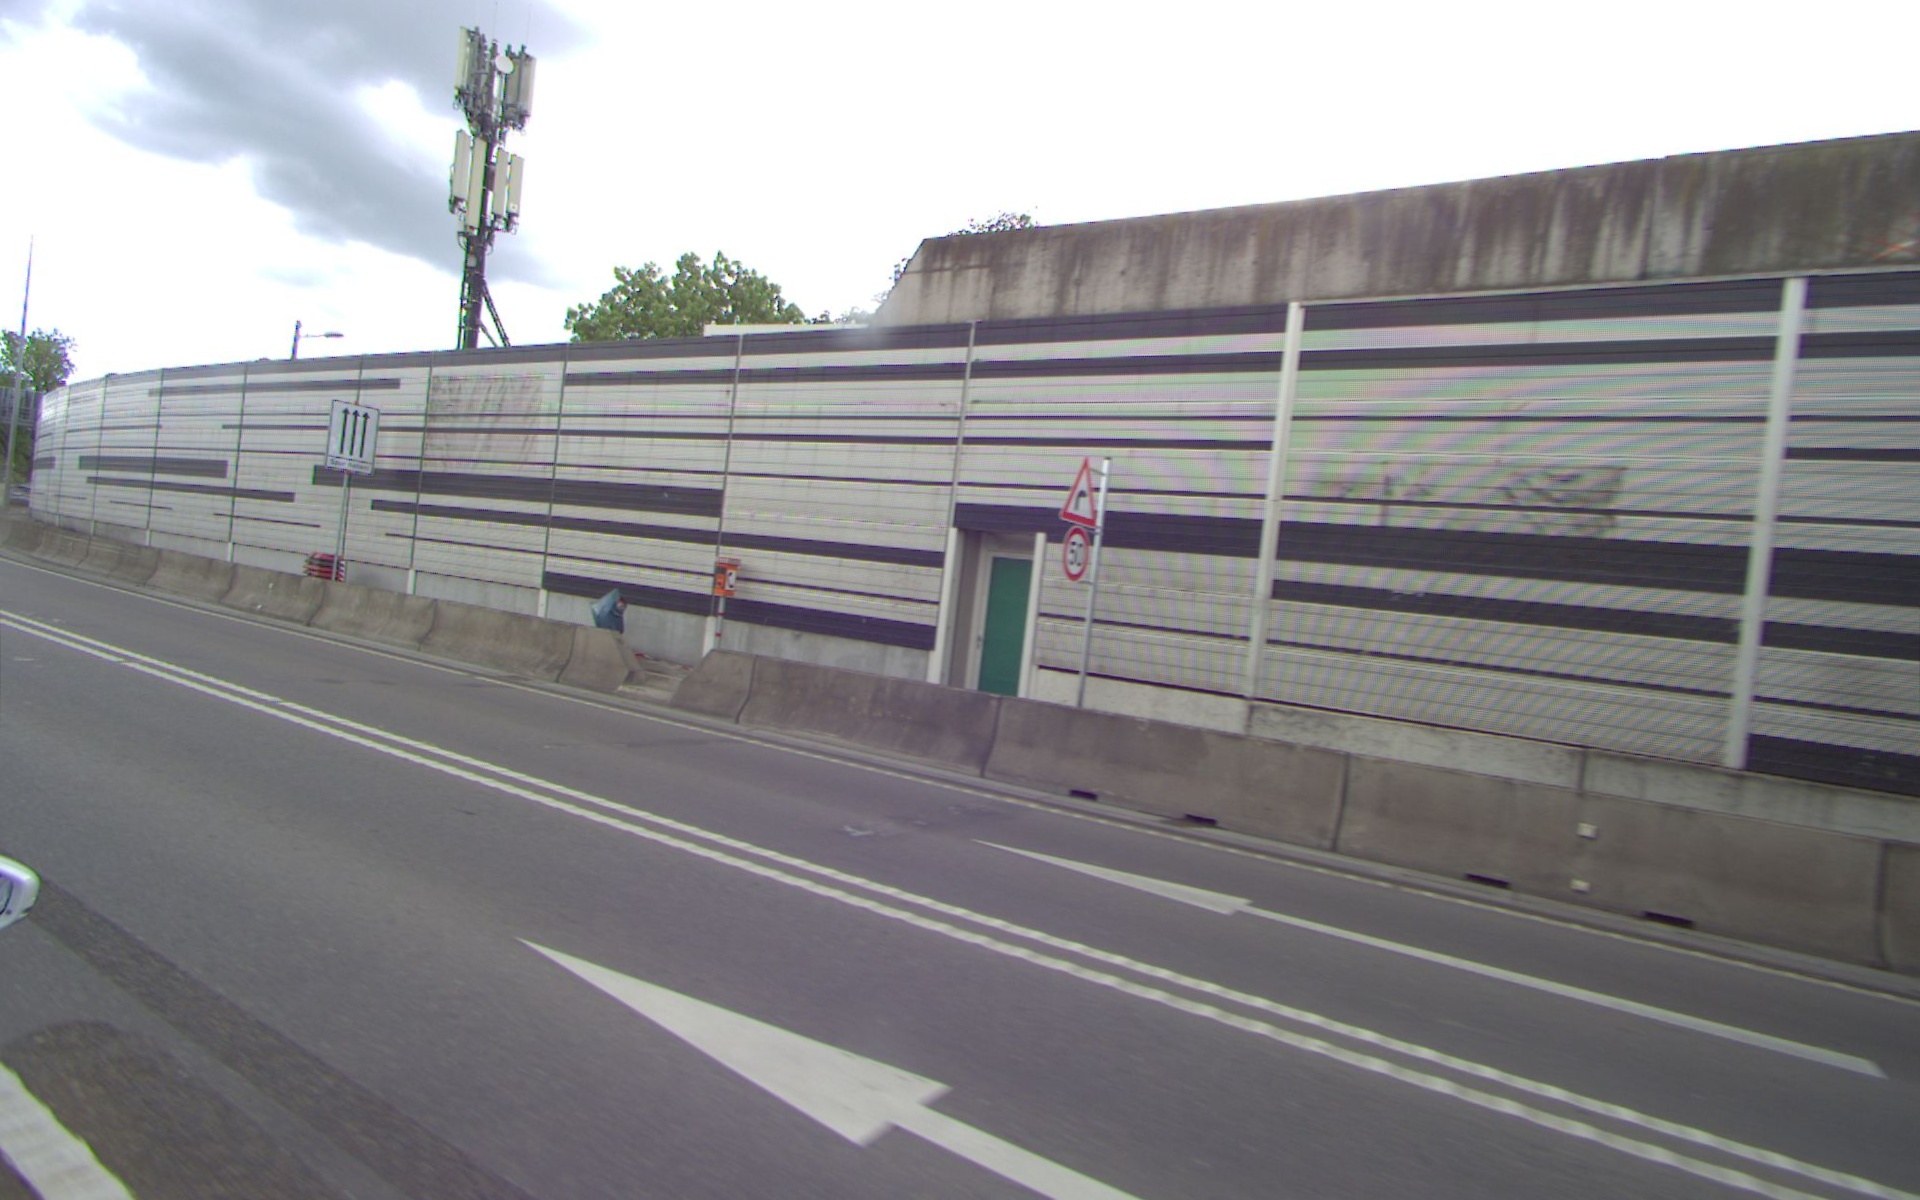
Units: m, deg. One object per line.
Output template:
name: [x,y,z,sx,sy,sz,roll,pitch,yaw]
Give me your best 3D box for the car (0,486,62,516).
car: [-61.160,-6.460,66.206,1.995,1.507,4.037,8,0,-27]
